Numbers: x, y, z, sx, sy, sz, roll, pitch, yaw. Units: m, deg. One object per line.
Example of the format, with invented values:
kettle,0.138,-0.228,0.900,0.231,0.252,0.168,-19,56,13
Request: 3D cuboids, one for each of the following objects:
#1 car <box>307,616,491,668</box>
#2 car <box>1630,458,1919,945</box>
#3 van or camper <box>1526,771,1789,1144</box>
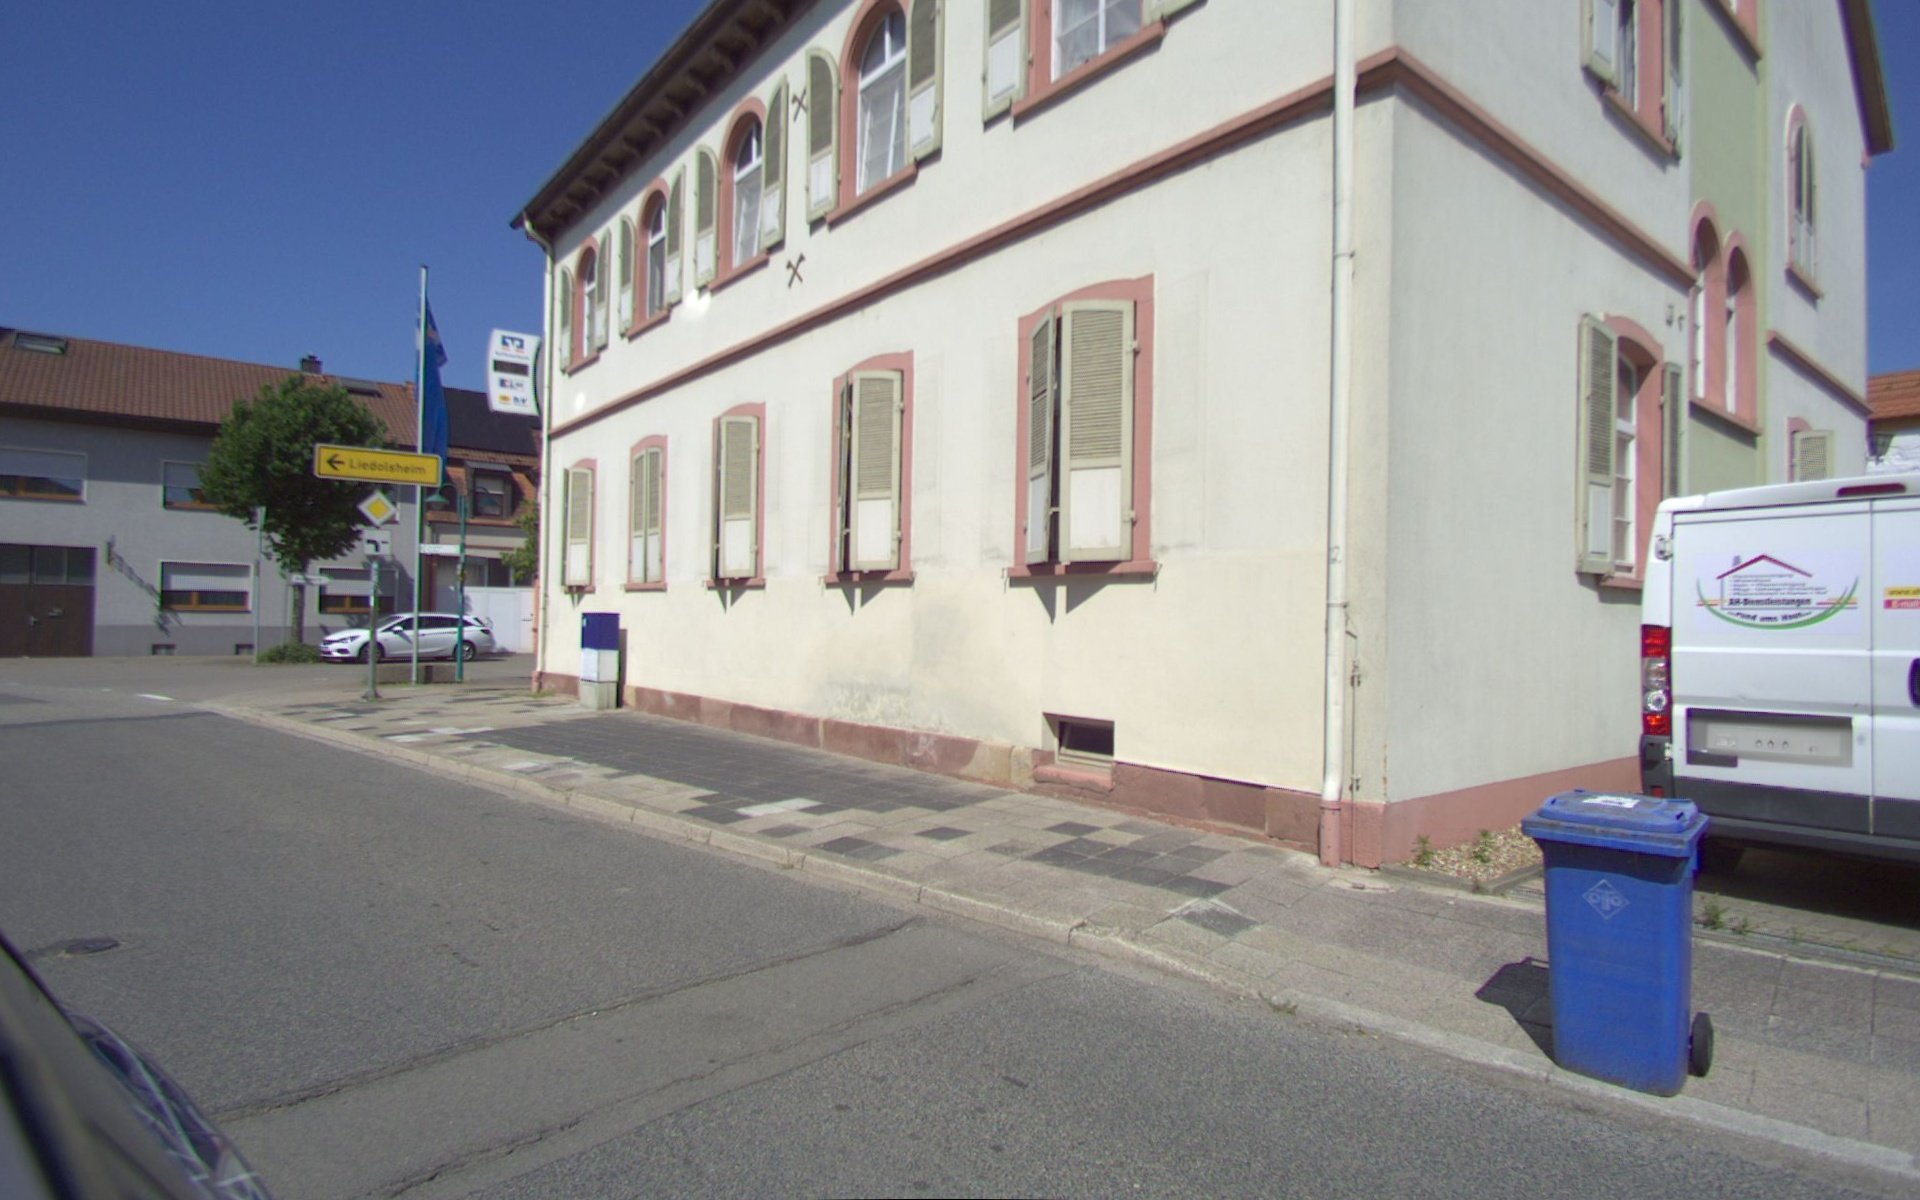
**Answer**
car,-16.701,1.208,30.311,1.853,1.451,4.454,-1,-1,39
car,6.324,0.497,6.245,5.109,2.213,2.127,1,-2,-38
van or camper,2.318,1.111,3.373,0.582,0.959,0.601,2,-2,-42
